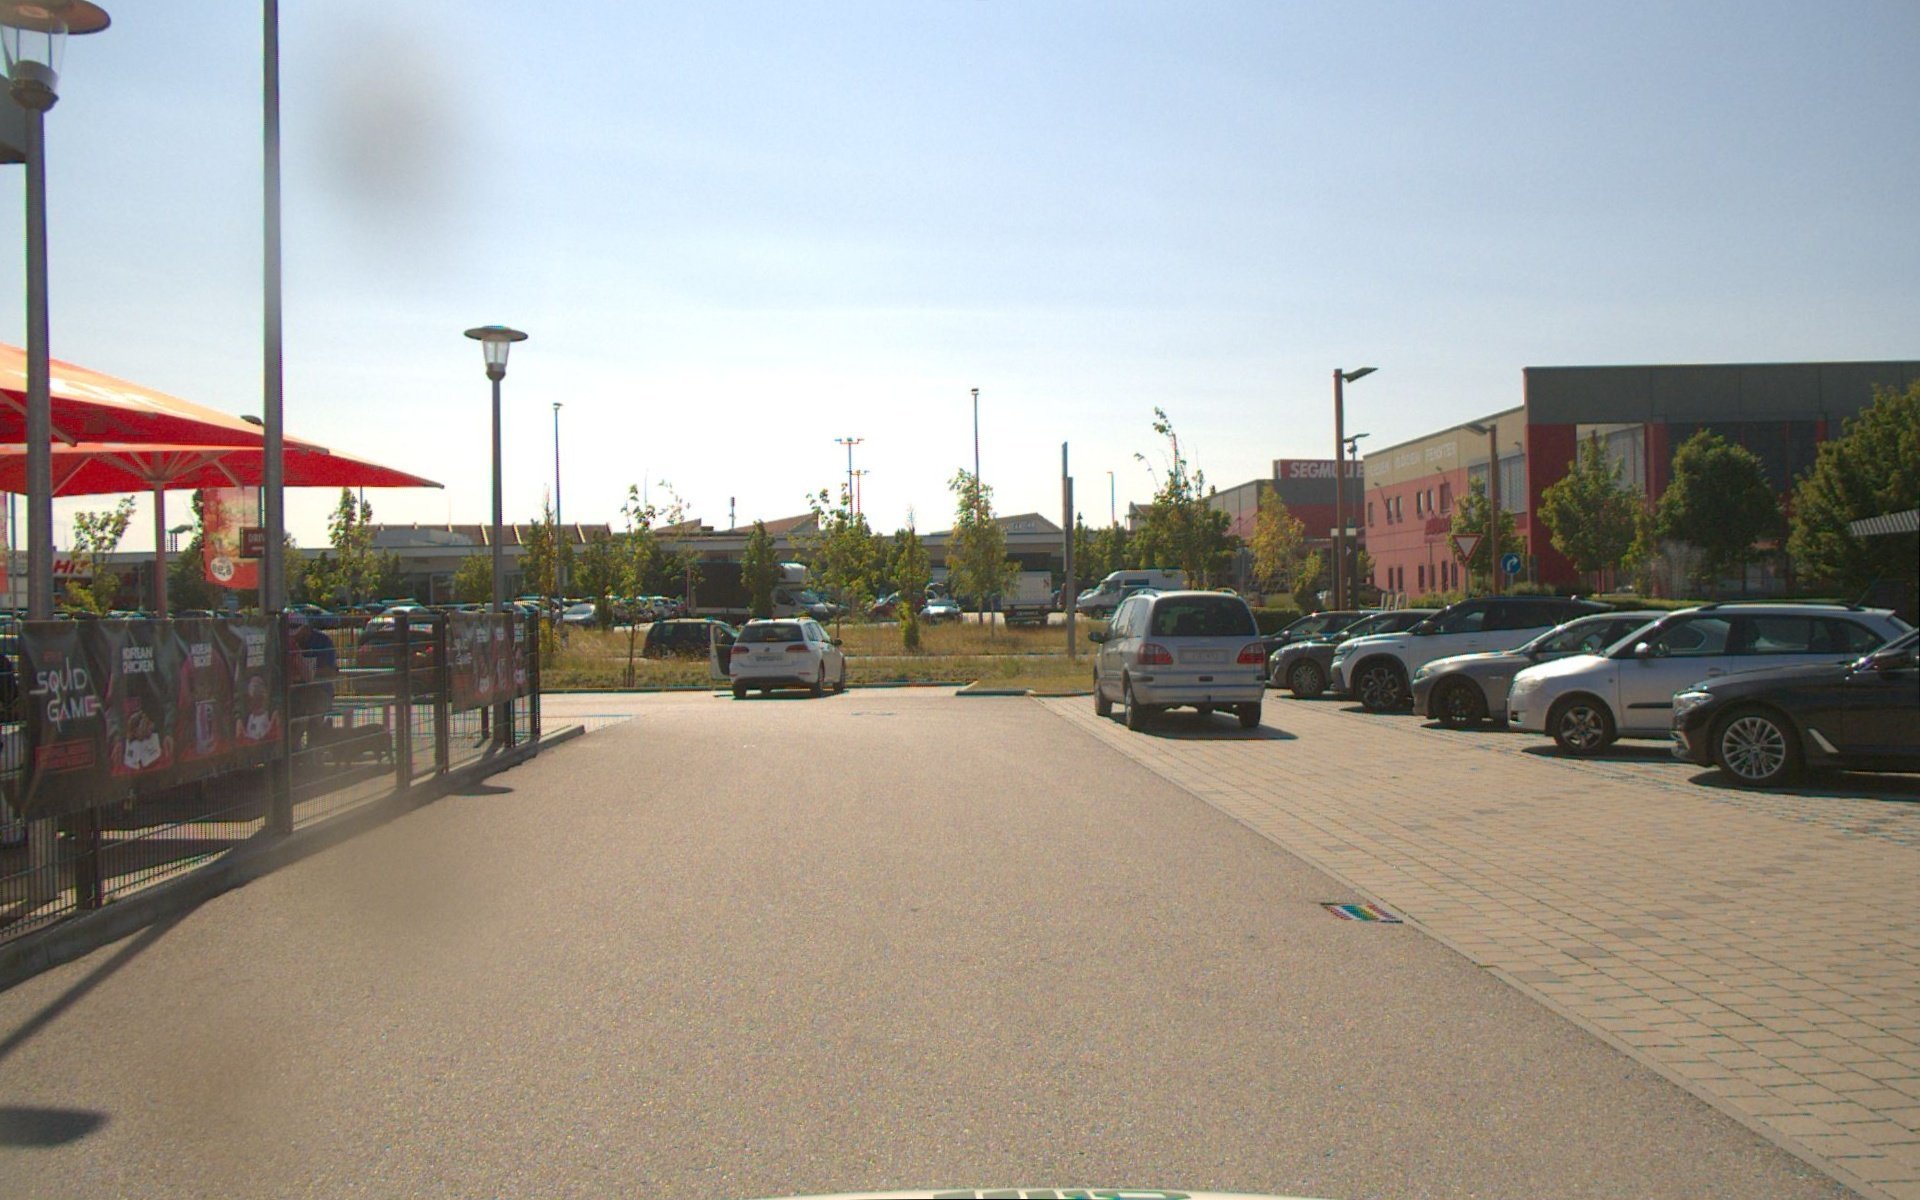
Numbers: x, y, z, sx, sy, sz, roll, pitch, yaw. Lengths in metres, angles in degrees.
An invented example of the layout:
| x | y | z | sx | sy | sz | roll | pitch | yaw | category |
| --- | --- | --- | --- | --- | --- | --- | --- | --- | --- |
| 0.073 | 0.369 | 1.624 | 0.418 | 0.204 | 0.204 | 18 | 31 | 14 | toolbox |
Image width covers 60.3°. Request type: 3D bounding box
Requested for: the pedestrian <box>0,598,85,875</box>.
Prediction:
| x | y | z | sx | sy | sz | roll | pitch | yaw | category |
| --- | --- | --- | --- | --- | --- | --- | --- | --- | --- |
| -5.194 | 0.697 | 8.762 | 0.649 | 1.411 | 0.808 | 0 | 0 | 5 | pedestrian |

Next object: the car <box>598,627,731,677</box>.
| x | y | z | sx | sy | sz | roll | pitch | yaw | category |
| --- | --- | --- | --- | --- | --- | --- | --- | --- | --- |
| -9.324 | 1.629 | 52.354 | 3.905 | 1.522 | 1.676 | 0 | 0 | 1 | car |

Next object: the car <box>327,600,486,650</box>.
| x | y | z | sx | sy | sz | roll | pitch | yaw | category |
| --- | --- | --- | --- | --- | --- | --- | --- | --- | --- |
| -20.092 | 0.887 | 60.186 | 5.099 | 1.761 | 1.989 | 0 | 0 | 0 | car |

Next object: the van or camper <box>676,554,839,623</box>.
| x | y | z | sx | sy | sz | roll | pitch | yaw | category |
| --- | --- | --- | --- | --- | --- | --- | --- | --- | --- |
| -9.701 | -0.508 | 78.898 | 7.879 | 3.156 | 2.414 | 0 | 0 | 30 | van or camper |

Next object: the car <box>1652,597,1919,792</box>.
| x | y | z | sx | sy | sz | roll | pitch | yaw | category |
| --- | --- | --- | --- | --- | --- | --- | --- | --- | --- |
| 8.328 | 0.727 | 13.392 | 4.692 | 1.512 | 1.966 | 0 | 0 | 39 | car |

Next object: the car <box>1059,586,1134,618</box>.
| x | y | z | sx | sy | sz | roll | pitch | yaw | category |
| --- | --- | --- | --- | --- | --- | --- | --- | --- | --- |
| 8.199 | 0.143 | 99.692 | 4.303 | 1.888 | 1.954 | 0 | 0 | -4 | car |

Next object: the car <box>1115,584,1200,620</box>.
| x | y | z | sx | sy | sz | roll | pitch | yaw | category |
| --- | --- | --- | --- | --- | --- | --- | --- | --- | --- |
| 10.756 | 0.114 | 90.231 | 4.303 | 1.888 | 1.954 | 0 | 0 | -4 | car |

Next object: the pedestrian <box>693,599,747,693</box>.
| x | y | z | sx | sy | sz | roll | pitch | yaw | category |
| --- | --- | --- | --- | --- | --- | --- | --- | --- | --- |
| -4.806 | 0.921 | 33.199 | 0.971 | 1.841 | 0.726 | -1 | -1 | -1 | pedestrian |

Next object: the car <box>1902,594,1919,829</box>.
| x | y | z | sx | sy | sz | roll | pitch | yaw | category |
| --- | --- | --- | --- | --- | --- | --- | --- | --- | --- |
| 8.223 | 0.688 | 9.924 | 4.284 | 1.485 | 1.829 | 0 | 0 | 37 | car |

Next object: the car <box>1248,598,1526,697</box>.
| x | y | z | sx | sy | sz | roll | pitch | yaw | category |
| --- | --- | --- | --- | --- | --- | --- | --- | --- | --- |
| 7.141 | 0.754 | 27.762 | 4.120 | 1.553 | 1.969 | 0 | 0 | 34 | car |

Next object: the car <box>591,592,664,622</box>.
| x | y | z | sx | sy | sz | roll | pitch | yaw | category |
| --- | --- | --- | --- | --- | --- | --- | --- | --- | --- |
| -21.259 | 0.437 | 105.862 | 4.303 | 1.888 | 1.954 | 0 | 0 | -4 | car |

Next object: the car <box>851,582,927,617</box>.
| x | y | z | sx | sy | sz | roll | pitch | yaw | category |
| --- | --- | --- | --- | --- | --- | --- | --- | --- | --- |
| -3.930 | -0.041 | 91.207 | 4.169 | 1.888 | 1.868 | 0 | 0 | -4 | car |

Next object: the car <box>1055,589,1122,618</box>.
| x | y | z | sx | sy | sz | roll | pitch | yaw | category |
| --- | --- | --- | --- | --- | --- | --- | --- | --- | --- |
| 8.735 | 0.226 | 112.363 | 4.303 | 1.888 | 1.954 | 0 | 0 | -4 | car |

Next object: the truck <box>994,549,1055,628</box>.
| x | y | z | sx | sy | sz | roll | pitch | yaw | category |
| --- | --- | --- | --- | --- | --- | --- | --- | --- | --- |
| 3.028 | -0.537 | 78.018 | 2.702 | 3.541 | 6.834 | 0 | 0 | 2 | truck |

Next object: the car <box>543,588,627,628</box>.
| x | y | z | sx | sy | sz | roll | pitch | yaw | category |
| --- | --- | --- | --- | --- | --- | --- | --- | --- | --- |
| -18.239 | 0.396 | 80.638 | 1.909 | 1.888 | 4.406 | 0 | 0 | 20 | car |

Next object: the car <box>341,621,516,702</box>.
| x | y | z | sx | sy | sz | roll | pitch | yaw | category |
| --- | --- | --- | --- | --- | --- | --- | --- | --- | --- |
| -10.574 | 1.201 | 33.263 | 1.788 | 1.495 | 4.355 | -1 | -1 | 5 | car |

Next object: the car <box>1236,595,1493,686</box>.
| x | y | z | sx | sy | sz | roll | pitch | yaw | category |
| --- | --- | --- | --- | --- | --- | --- | --- | --- | --- |
| 7.497 | 0.711 | 30.862 | 4.254 | 1.553 | 1.964 | -1 | 0 | 41 | car |

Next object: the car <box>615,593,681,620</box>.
| x | y | z | sx | sy | sz | roll | pitch | yaw | category |
| --- | --- | --- | --- | --- | --- | --- | --- | --- | --- |
| -21.657 | 0.450 | 114.918 | 4.303 | 1.888 | 1.954 | 0 | 0 | -4 | car |

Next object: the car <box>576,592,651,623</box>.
| x | y | z | sx | sy | sz | roll | pitch | yaw | category |
| --- | --- | --- | --- | --- | --- | --- | --- | --- | --- |
| -21.640 | 0.438 | 103.482 | 4.303 | 1.888 | 1.954 | 0 | 0 | -4 | car |

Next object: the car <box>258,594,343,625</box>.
| x | y | z | sx | sy | sz | roll | pitch | yaw | category |
| --- | --- | --- | --- | --- | --- | --- | --- | --- | --- |
| -40.820 | 0.576 | 102.422 | 4.468 | 1.888 | 1.954 | 0 | 0 | -4 | car |

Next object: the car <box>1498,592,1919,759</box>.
| x | y | z | sx | sy | sz | roll | pitch | yaw | category |
| --- | --- | --- | --- | --- | --- | --- | --- | --- | --- |
| 7.806 | 0.708 | 16.975 | 4.111 | 1.553 | 1.973 | 0 | 0 | 26 | car |

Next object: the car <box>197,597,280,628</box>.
| x | y | z | sx | sy | sz | roll | pitch | yaw | category |
| --- | --- | --- | --- | --- | --- | --- | --- | --- | --- |
| -49.229 | 0.846 | 112.928 | 4.823 | 2.049 | 2.079 | 0 | 0 | -8 | car |

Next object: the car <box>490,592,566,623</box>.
| x | y | z | sx | sy | sz | roll | pitch | yaw | category |
| --- | --- | --- | --- | --- | --- | --- | --- | --- | --- |
| -27.158 | 0.479 | 104.048 | 4.303 | 1.888 | 1.954 | 0 | 0 | -4 | car |

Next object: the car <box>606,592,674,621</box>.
| x | y | z | sx | sy | sz | roll | pitch | yaw | category |
| --- | --- | --- | --- | --- | --- | --- | --- | --- | --- |
| -21.610 | 0.446 | 111.814 | 4.303 | 1.888 | 1.954 | 0 | 0 | -4 | car |

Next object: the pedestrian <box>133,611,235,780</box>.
| x | y | z | sx | sy | sz | roll | pitch | yaw | category |
| --- | --- | --- | --- | --- | --- | --- | --- | --- | --- |
| -6.155 | 0.743 | 13.148 | 0.673 | 1.296 | 0.548 | 0 | 0 | -20 | pedestrian |

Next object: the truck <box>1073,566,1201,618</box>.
| x | y | z | sx | sy | sz | roll | pitch | yaw | category |
| --- | --- | --- | --- | --- | --- | --- | --- | --- | --- |
| 9.926 | -0.438 | 92.847 | 6.896 | 2.864 | 1.954 | 0 | 0 | -4 | truck |

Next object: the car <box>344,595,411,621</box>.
| x | y | z | sx | sy | sz | roll | pitch | yaw | category |
| --- | --- | --- | --- | --- | --- | --- | --- | --- | --- |
| -43.258 | 0.616 | 122.951 | 4.303 | 1.888 | 1.954 | 0 | 0 | -4 | car |

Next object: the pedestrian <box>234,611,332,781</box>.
| x | y | z | sx | sy | sz | roll | pitch | yaw | category |
| --- | --- | --- | --- | --- | --- | --- | --- | --- | --- |
| -5.366 | 0.736 | 13.154 | 0.673 | 1.296 | 0.837 | 0 | 0 | -20 | pedestrian |

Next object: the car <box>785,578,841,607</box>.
| x | y | z | sx | sy | sz | roll | pitch | yaw | category |
| --- | --- | --- | --- | --- | --- | --- | --- | --- | --- |
| -10.679 | -0.552 | 120.700 | 3.906 | 2.049 | 2.000 | 0 | 0 | -1 | car |

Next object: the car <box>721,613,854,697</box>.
| x | y | z | sx | sy | sz | roll | pitch | yaw | category |
| --- | --- | --- | --- | --- | --- | --- | --- | --- | --- |
| -3.305 | 1.055 | 32.541 | 1.788 | 1.495 | 4.484 | -1 | -1 | 5 | car |

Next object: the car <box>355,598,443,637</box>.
| x | y | z | sx | sy | sz | roll | pitch | yaw | category |
| --- | --- | --- | --- | --- | --- | --- | --- | --- | --- |
| -28.175 | 0.855 | 83.193 | 1.952 | 1.888 | 4.287 | 0 | 0 | 20 | car |

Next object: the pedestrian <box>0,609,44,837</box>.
| x | y | z | sx | sy | sz | roll | pitch | yaw | category |
| --- | --- | --- | --- | --- | --- | --- | --- | --- | --- |
| -5.914 | 0.722 | 9.706 | 0.649 | 1.327 | 0.712 | 0 | 0 | 5 | pedestrian |

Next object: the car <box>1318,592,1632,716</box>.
| x | y | z | sx | sy | sz | roll | pitch | yaw | category |
| --- | --- | --- | --- | --- | --- | --- | --- | --- | --- |
| 7.555 | 0.743 | 24.308 | 4.113 | 1.683 | 1.972 | 0 | 0 | 28 | car |

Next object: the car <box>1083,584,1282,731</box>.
| x | y | z | sx | sy | sz | roll | pitch | yaw | category |
| --- | --- | --- | --- | --- | --- | --- | --- | --- | --- |
| 2.922 | 0.717 | 22.708 | 1.791 | 1.779 | 4.679 | -1 | 0 | -4 | car |

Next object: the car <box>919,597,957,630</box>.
| x | y | z | sx | sy | sz | roll | pitch | yaw | category |
| --- | --- | --- | --- | --- | --- | --- | --- | --- | --- |
| -1.007 | 0.617 | 78.315 | 1.615 | 1.485 | 3.967 | 0 | 0 | 1 | car |

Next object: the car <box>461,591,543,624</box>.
| x | y | z | sx | sy | sz | roll | pitch | yaw | category |
| --- | --- | --- | --- | --- | --- | --- | --- | --- | --- |
| -26.562 | 0.414 | 96.023 | 4.303 | 1.888 | 1.954 | 0 | 0 | -4 | car |

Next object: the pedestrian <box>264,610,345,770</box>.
| x | y | z | sx | sy | sz | roll | pitch | yaw | category |
| --- | --- | --- | --- | --- | --- | --- | --- | --- | --- |
| -5.509 | 0.739 | 13.916 | 0.602 | 1.296 | 0.621 | 0 | 0 | -20 | pedestrian |

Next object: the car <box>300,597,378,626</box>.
| x | y | z | sx | sy | sz | roll | pitch | yaw | category |
| --- | --- | --- | --- | --- | --- | --- | --- | --- | --- |
| -41.469 | 0.775 | 110.528 | 4.468 | 1.888 | 1.954 | 0 | 0 | -4 | car |

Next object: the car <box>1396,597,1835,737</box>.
| x | y | z | sx | sy | sz | roll | pitch | yaw | category |
| --- | --- | --- | --- | --- | --- | --- | --- | --- | --- |
| 8.042 | 0.755 | 20.485 | 4.747 | 1.553 | 1.969 | 0 | 0 | 35 | car |

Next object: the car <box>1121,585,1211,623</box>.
| x | y | z | sx | sy | sz | roll | pitch | yaw | category |
| --- | --- | --- | --- | --- | --- | --- | --- | --- | --- |
| 10.556 | 0.183 | 84.964 | 4.303 | 1.888 | 1.954 | 0 | 0 | -4 | car |
